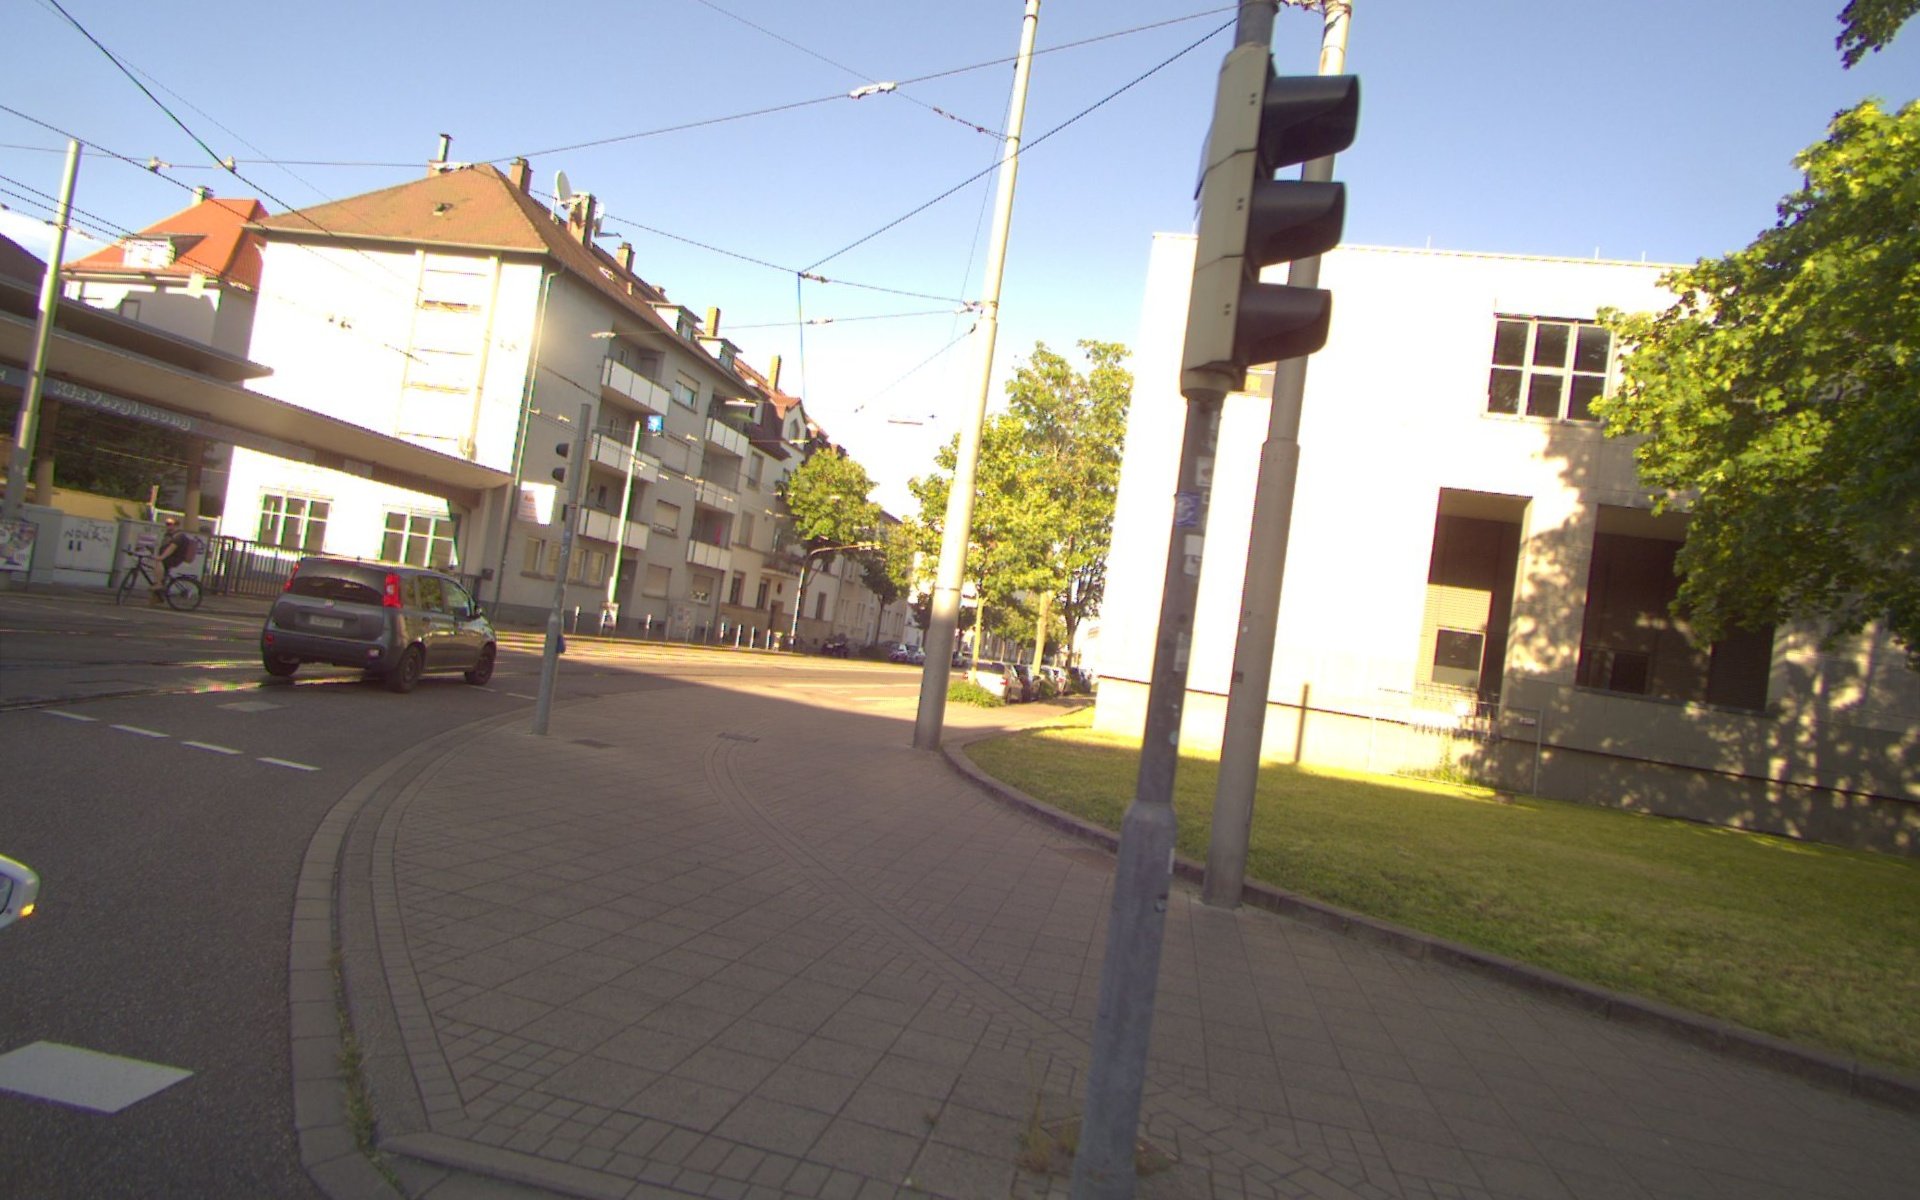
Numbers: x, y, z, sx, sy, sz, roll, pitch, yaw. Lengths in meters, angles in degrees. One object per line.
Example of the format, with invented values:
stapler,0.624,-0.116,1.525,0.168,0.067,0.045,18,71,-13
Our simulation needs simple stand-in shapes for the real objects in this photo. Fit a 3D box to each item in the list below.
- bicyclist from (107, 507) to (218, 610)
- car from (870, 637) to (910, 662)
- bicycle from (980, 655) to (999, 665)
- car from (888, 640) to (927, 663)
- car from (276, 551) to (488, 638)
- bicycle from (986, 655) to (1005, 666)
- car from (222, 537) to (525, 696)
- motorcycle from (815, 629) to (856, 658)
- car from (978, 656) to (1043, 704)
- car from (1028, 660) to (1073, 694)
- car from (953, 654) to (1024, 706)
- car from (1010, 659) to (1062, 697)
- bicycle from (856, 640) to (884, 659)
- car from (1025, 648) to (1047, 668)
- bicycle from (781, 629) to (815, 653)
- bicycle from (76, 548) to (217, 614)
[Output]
bicyclist,-15.844,-0.796,20.029,0.894,1.807,1.255,8,-2,7
car,-5.048,3.621,73.096,1.769,1.502,4.007,8,-3,10
bicycle,3.402,6.910,115.864,0.786,0.941,2.240,10,-3,-42
car,-4.067,4.044,78.238,1.925,1.435,4.195,8,-3,11
car,-13.230,-0.048,23.367,1.762,1.474,4.197,6,-3,13
bicycle,4.132,7.020,116.646,0.786,0.941,2.298,10,-3,-42
car,-7.383,0.275,13.200,1.706,1.516,4.001,9,-3,-5
motorcycle,-7.653,2.684,61.845,1.435,1.498,3.107,8,-3,11
car,2.056,3.147,39.657,1.810,1.506,4.650,8,-3,11
car,4.895,4.145,53.995,1.718,1.474,4.626,8,-3,12
car,1.050,2.760,34.753,1.615,1.471,3.921,8,-3,12
car,3.676,3.717,48.187,1.793,1.480,4.164,8,-3,12
bicycle,-6.213,3.418,69.285,1.721,1.034,0.609,10,-2,-8
car,11.467,8.849,152.032,2.296,2.597,5.681,8,-3,12
bicycle,-8.896,2.250,55.141,1.683,1.044,0.444,10,-2,-8
bicycle,-15.921,-0.346,19.770,0.714,1.028,2.051,7,-2,13
